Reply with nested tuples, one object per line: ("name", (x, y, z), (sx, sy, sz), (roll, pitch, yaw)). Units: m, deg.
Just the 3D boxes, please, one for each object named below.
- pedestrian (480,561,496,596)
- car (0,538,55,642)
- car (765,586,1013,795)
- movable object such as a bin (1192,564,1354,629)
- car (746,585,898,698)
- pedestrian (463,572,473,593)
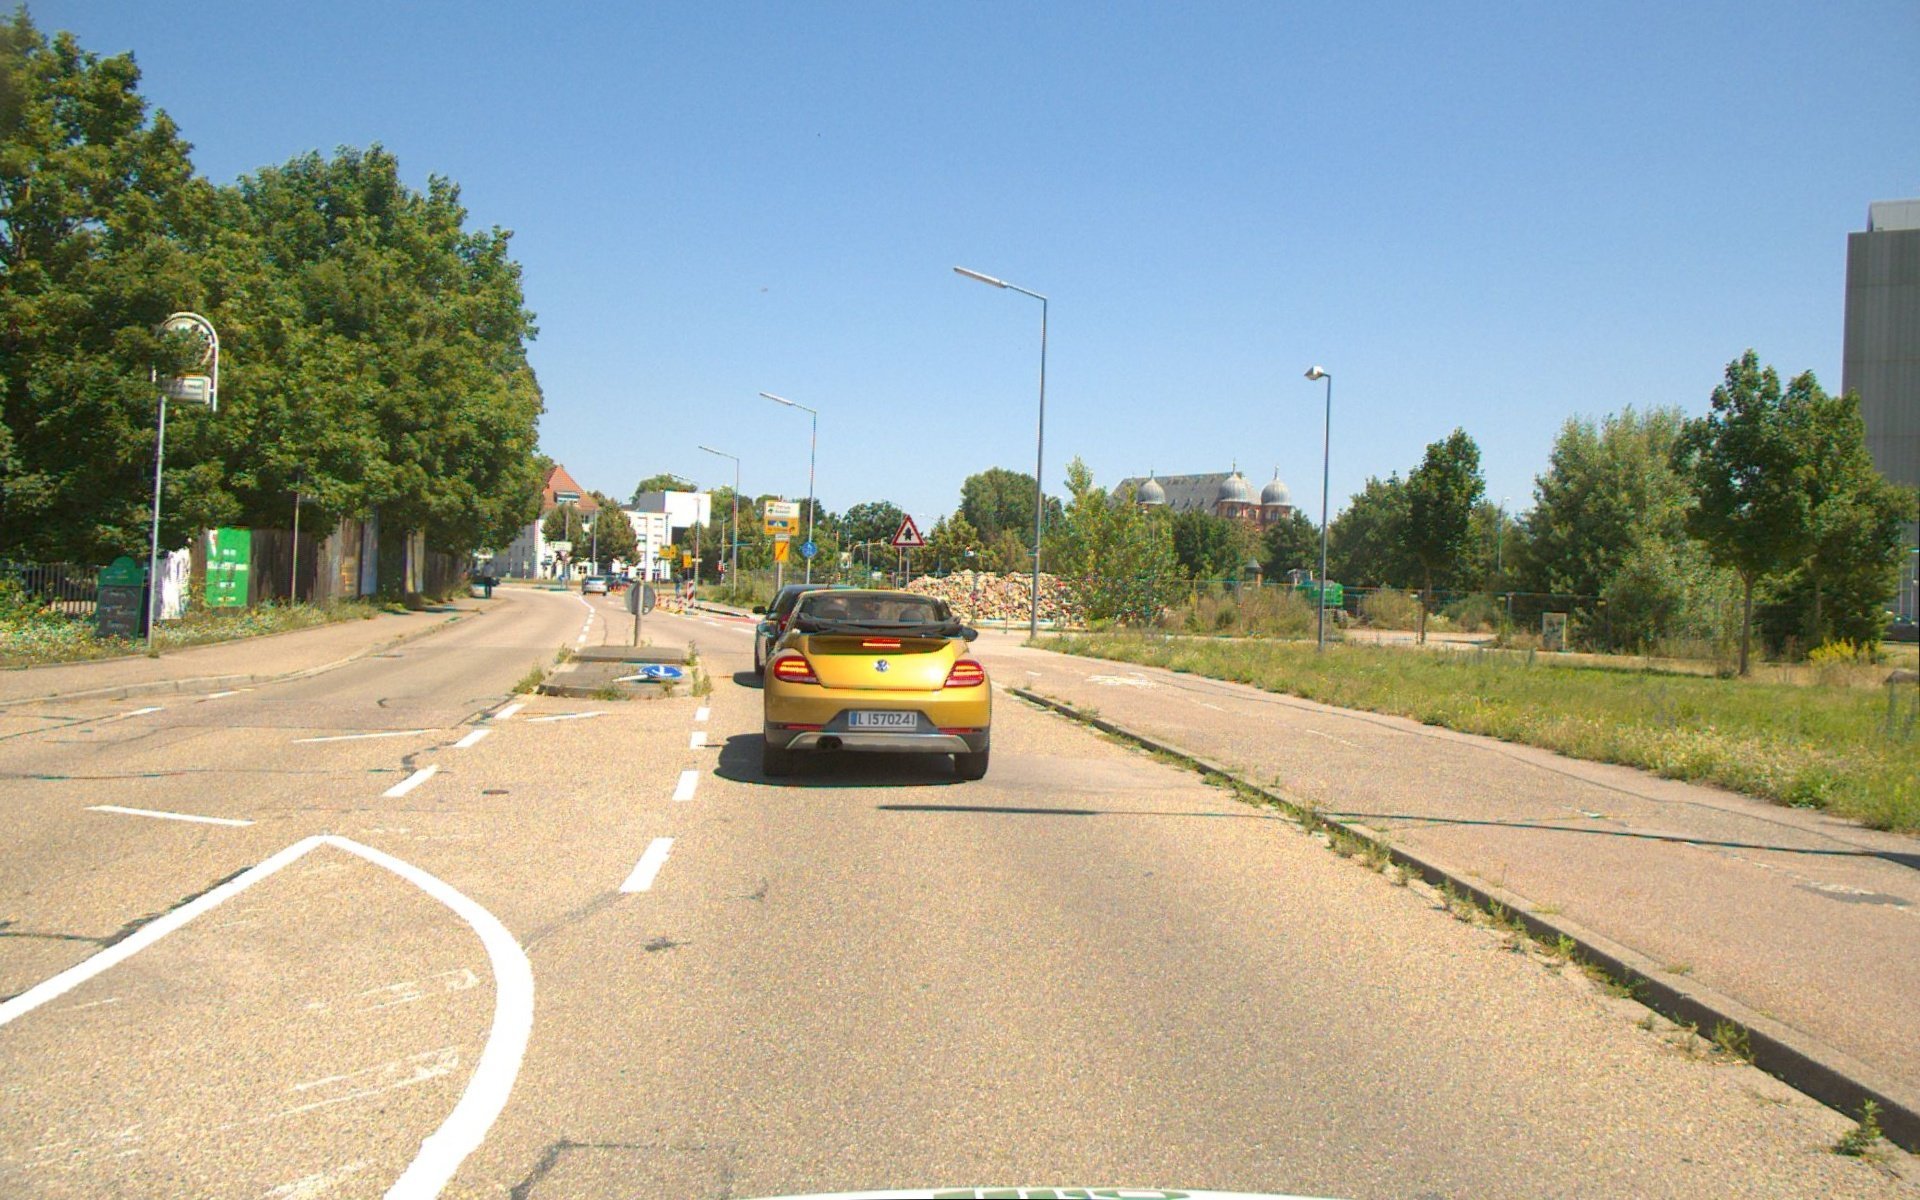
("pedestrian", (-24.140, -1.084, 84.558), (0.711, 1.755, 0.814), (2, 0, -18))
("car", (-20.618, -0.254, 32.828), (4.229, 2.011, 1.778), (2, 0, -11))
("car", (-0.732, 0.648, 13.899), (1.756, 1.461, 3.808), (2, 1, -7))
("movable object such as a bin", (17.405, -0.226, 93.026), (4.858, 3.317, 10.426), (2, 0, -15))
("car", (-2.084, 0.546, 24.076), (1.696, 1.468, 3.988), (2, 0, -12))
("pedestrian", (-36.167, -1.274, 121.559), (0.711, 1.479, 0.814), (2, 0, -18))
